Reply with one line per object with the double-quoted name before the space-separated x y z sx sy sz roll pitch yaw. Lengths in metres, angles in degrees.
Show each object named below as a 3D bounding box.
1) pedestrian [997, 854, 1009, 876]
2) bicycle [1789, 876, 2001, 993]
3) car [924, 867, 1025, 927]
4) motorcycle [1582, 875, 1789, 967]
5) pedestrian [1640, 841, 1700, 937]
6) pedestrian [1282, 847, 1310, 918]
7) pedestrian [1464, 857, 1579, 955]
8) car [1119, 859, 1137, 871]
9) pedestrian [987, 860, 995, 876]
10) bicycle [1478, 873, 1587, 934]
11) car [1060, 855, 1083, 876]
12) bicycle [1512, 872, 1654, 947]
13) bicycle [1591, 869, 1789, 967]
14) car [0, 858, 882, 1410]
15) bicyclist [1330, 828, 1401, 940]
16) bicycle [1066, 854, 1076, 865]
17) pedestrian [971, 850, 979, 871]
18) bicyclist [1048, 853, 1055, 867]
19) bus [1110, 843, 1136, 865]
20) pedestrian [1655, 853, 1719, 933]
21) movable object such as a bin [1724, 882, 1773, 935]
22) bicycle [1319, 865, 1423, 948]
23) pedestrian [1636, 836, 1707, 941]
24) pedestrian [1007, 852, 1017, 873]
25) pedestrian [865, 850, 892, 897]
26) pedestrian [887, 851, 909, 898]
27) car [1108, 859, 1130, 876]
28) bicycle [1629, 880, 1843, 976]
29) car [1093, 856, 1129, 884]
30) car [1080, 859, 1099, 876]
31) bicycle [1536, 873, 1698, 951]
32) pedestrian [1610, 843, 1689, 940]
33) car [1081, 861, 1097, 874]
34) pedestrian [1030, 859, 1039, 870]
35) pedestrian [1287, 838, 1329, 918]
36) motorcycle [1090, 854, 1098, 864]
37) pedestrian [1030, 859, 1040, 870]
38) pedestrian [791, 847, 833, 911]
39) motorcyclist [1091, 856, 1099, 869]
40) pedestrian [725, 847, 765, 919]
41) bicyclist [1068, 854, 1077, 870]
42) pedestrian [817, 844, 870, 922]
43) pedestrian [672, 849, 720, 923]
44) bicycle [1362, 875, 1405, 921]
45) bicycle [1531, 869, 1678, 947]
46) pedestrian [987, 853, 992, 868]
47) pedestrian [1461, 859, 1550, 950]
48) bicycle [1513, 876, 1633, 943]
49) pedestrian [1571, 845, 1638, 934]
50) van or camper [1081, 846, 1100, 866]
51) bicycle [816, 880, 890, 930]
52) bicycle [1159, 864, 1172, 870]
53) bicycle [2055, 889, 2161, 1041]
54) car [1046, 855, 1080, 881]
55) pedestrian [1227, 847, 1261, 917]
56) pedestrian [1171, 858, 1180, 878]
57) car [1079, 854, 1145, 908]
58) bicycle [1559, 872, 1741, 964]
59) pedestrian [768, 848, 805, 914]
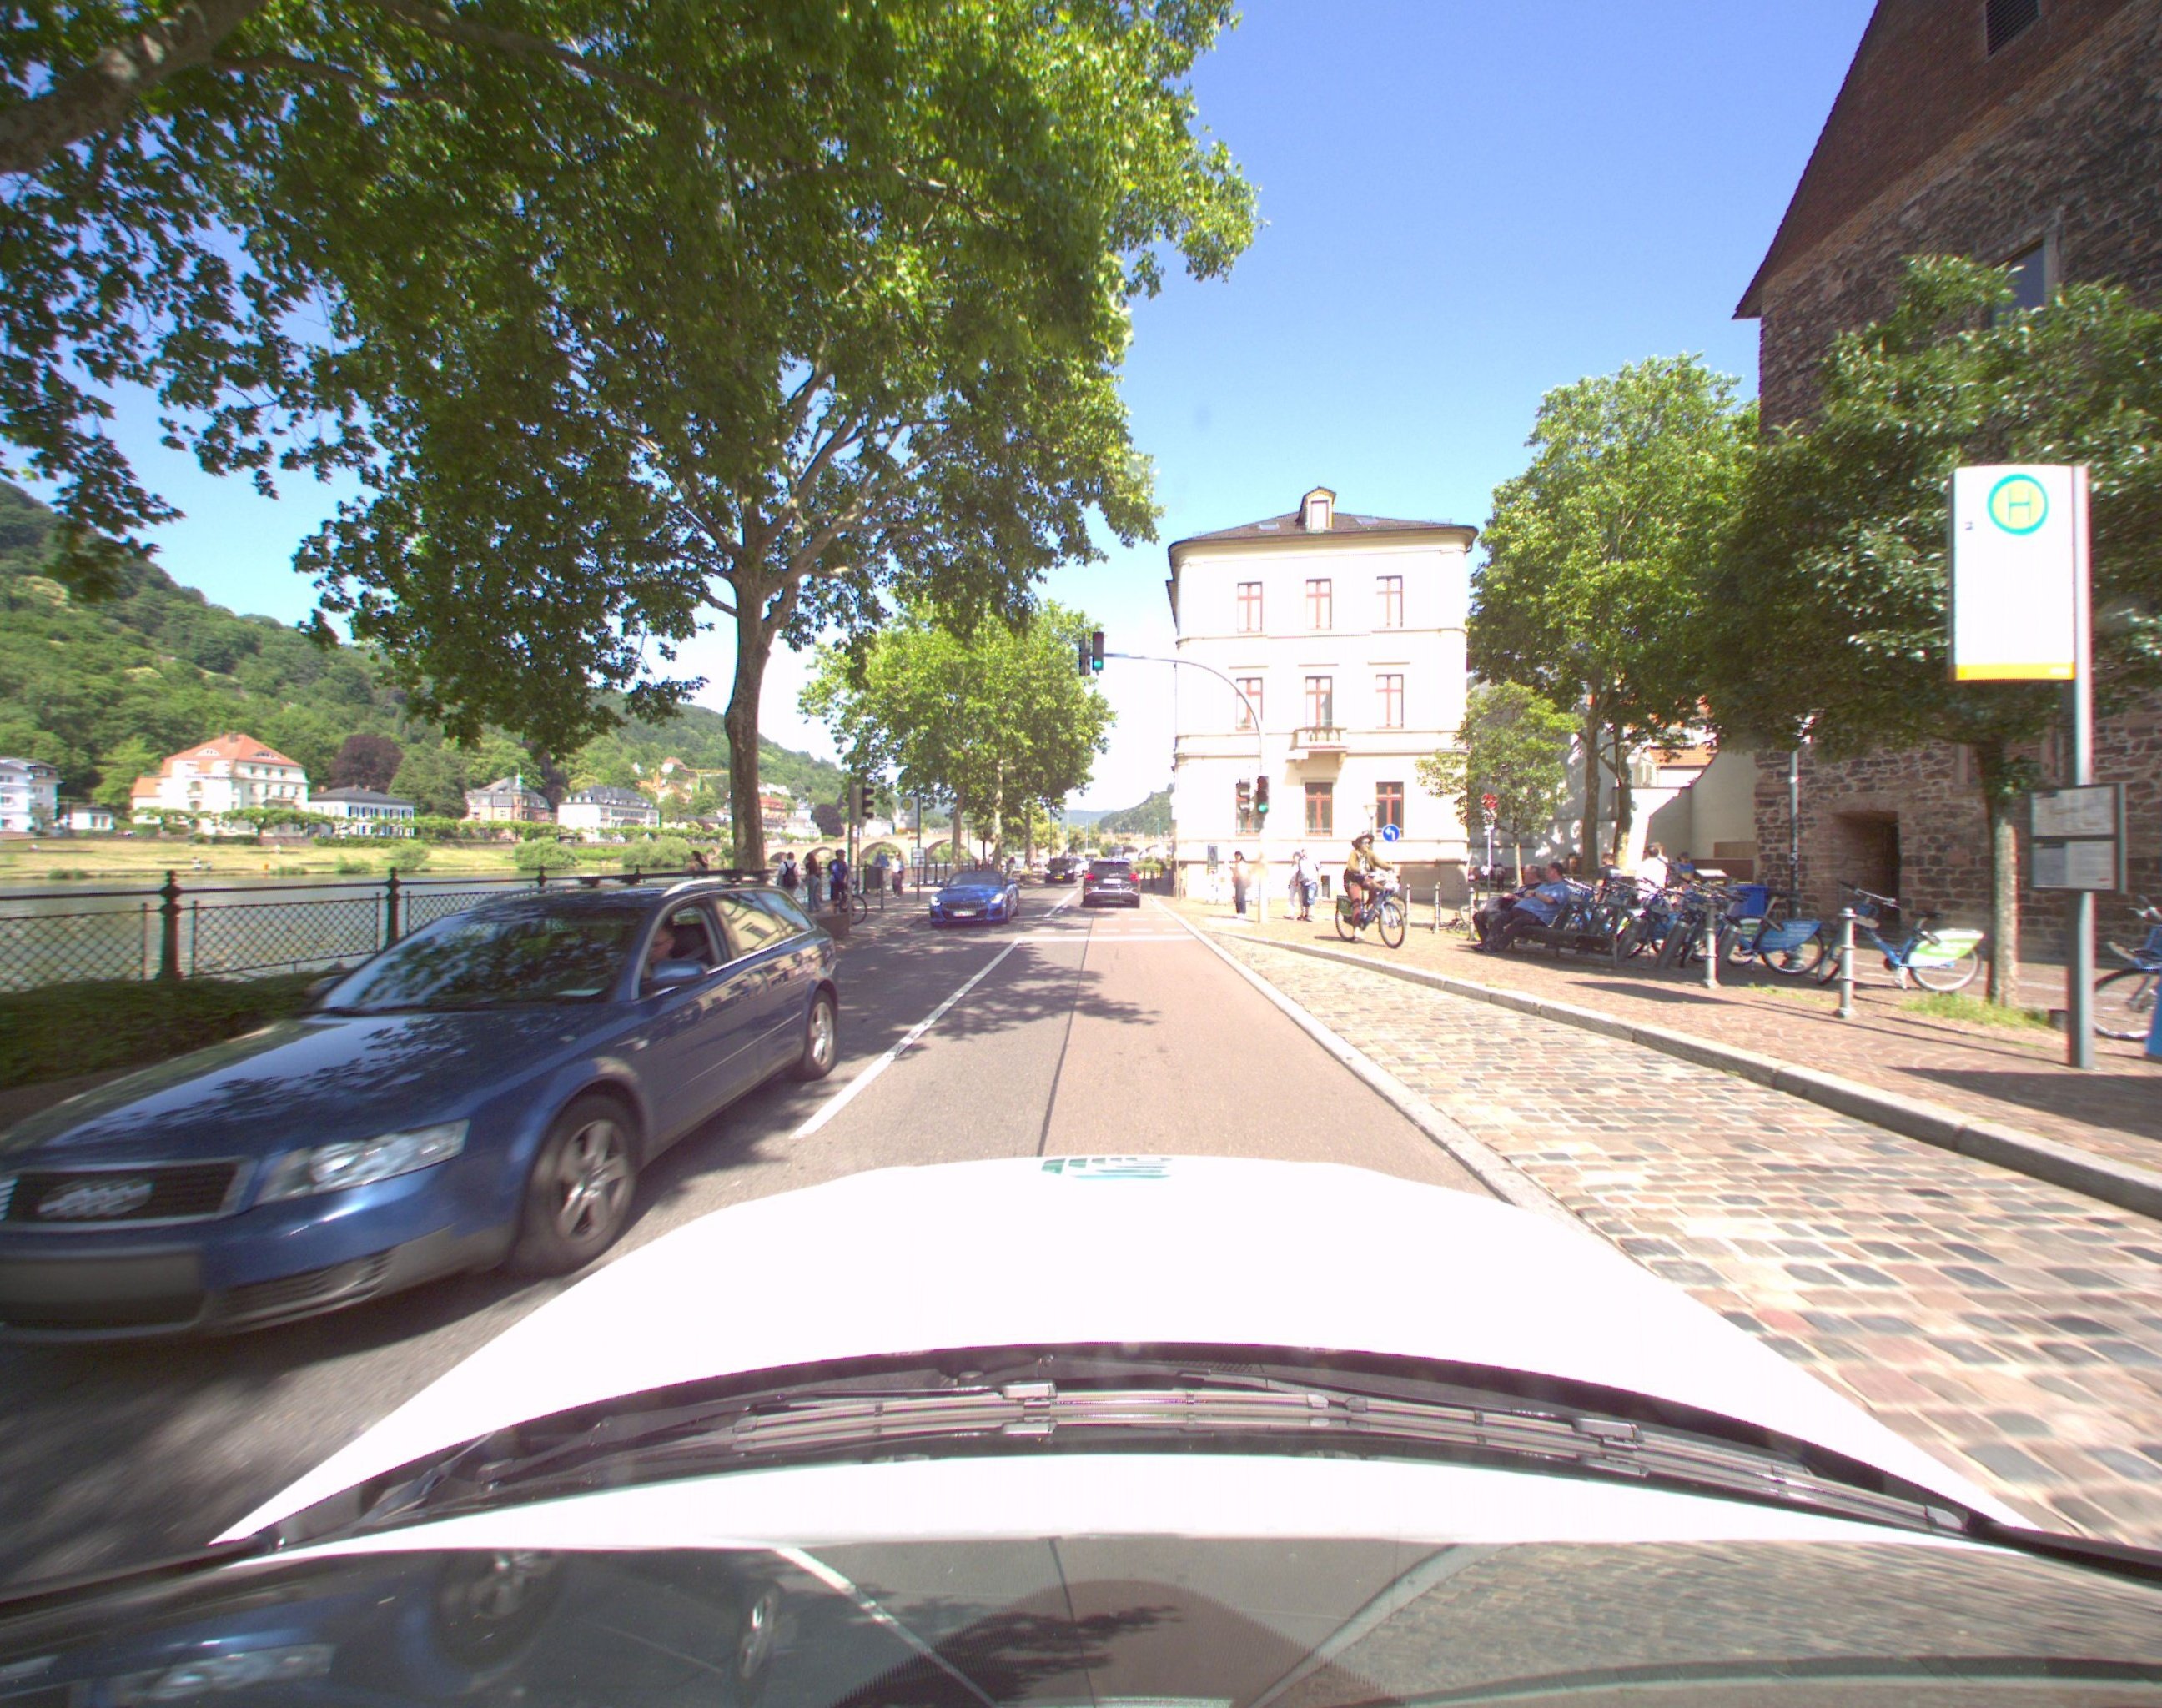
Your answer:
"pedestrian" -5.472 0.780 57.300 0.759 1.586 0.696 1 -1 1
"bicycle" 8.963 0.856 9.026 1.539 1.198 0.727 0 -1 8
"car" -2.552 1.001 20.470 1.834 1.269 4.263 -3 -1 1
"motorcycle" 8.108 0.886 10.989 2.197 1.104 0.776 2 0 0
"pedestrian" 12.390 0.715 17.133 0.808 1.942 0.782 1 -1 -32
"pedestrian" 5.243 0.686 19.900 0.525 1.712 0.666 1 -1 1
"pedestrian" 6.094 0.706 11.307 1.243 1.308 0.693 1 -1 0
"car" 5.981 1.370 103.471 1.916 1.553 4.841 -1 0 7
"pedestrian" -9.129 1.409 82.457 0.689 1.616 0.665 0 -1 9
"bicycle" 8.777 0.957 15.874 1.786 1.110 0.563 2 0 0
"car" -0.779 0.898 64.107 1.731 1.518 4.400 0 -1 -2
"bicycle" 8.659 0.944 14.089 2.072 1.198 0.608 2 0 0
"bicycle" 8.171 0.841 10.990 2.073 1.198 0.776 2 0 0
"car" -2.644 0.837 4.522 1.694 1.518 4.408 -3 -1 3
"bicyclist" 4.286 0.443 12.326 0.708 1.628 0.885 1 -1 -5
"bicycle" -1.070 0.592 85.340 0.736 1.077 1.957 2 0 7
"pedestrian" -10.113 0.631 77.715 0.691 1.945 0.887 1 -1 1
"bicyclist" -3.283 0.654 90.656 0.716 1.583 1.090 0 -1 4
"bus" 7.408 0.132 141.352 2.614 3.564 13.023 0 -1 12
"pedestrian" 13.781 0.866 18.556 0.755 1.760 0.961 1 -1 1
"movable object such as a bin" 14.773 1.188 18.042 0.487 1.124 0.751 0 -1 2
"bicycle" 4.287 0.738 12.222 0.688 1.129 2.005 1 -1 -6
"pedestrian" 11.399 0.657 15.756 0.653 1.960 0.938 1 -1 -8
"pedestrian" -5.680 0.728 66.800 0.654 1.682 0.759 3 -1 1
"pedestrian" -7.600 0.729 30.636 0.709 1.764 0.972 1 -1 1
"pedestrian" -6.404 0.714 28.478 0.492 1.617 0.992 1 -1 1
"car" 3.620 1.222 77.023 1.918 1.553 4.836 -1 0 4
"bicycle" 8.128 0.903 10.172 2.017 1.066 0.801 2 0 0
"car" 1.729 0.885 46.217 1.919 1.461 4.834 1 0 2
"car" 0.832 1.300 79.275 1.695 1.445 4.091 2 1 0
"bicycle" 8.194 0.881 12.494 2.073 1.085 0.604 2 0 0
"pedestrian" 10.566 0.682 15.166 0.802 1.753 0.906 1 -1 -8
"car" 0.894 1.518 91.063 1.694 1.458 4.004 0 -1 2
"pedestrian" -5.653 1.312 99.466 0.930 1.281 0.852 0 -1 11
"pedestrian" 5.359 0.561 19.211 0.620 1.852 0.723 1 -1 -33
"motorcycle" 1.595 0.614 97.262 0.881 1.077 2.327 0 2 -2
"pedestrian" -5.619 1.314 99.665 0.930 1.281 0.852 0 -1 11
"pedestrian" -7.276 0.669 22.028 0.832 1.714 0.783 1 -1 1
"motorcyclist" 1.657 0.995 96.676 0.875 1.583 1.025 1 -1 1
"pedestrian" -8.164 0.695 19.788 0.616 1.700 0.696 1 -1 1
"bicyclist" -0.860 0.829 85.076 0.763 1.531 1.026 2 1 4
"pedestrian" -5.616 0.671 19.247 1.012 1.773 0.773 0 -1 42
"pedestrian" -8.718 0.716 18.452 0.547 1.608 0.911 3 -1 1
"bicycle" 6.929 1.015 18.686 0.505 1.004 1.581 1 -4 4
"bicycle" 8.649 0.886 13.487 2.073 1.198 0.527 2 0 0
"pedestrian" -9.218 0.652 82.250 0.412 1.597 0.452 0 -1 9
"pedestrian" 6.226 0.722 11.985 0.957 1.282 0.693 1 -1 0
"bicycle" 8.887 0.989 14.745 1.786 1.110 0.608 2 0 0
"pedestrian" 10.781 0.708 16.777 0.995 1.765 0.916 1 -1 -40
"van or camper" 1.313 0.298 105.507 2.078 2.557 7.097 1 -1 3
"bicycle" -5.300 1.161 18.853 1.808 0.925 0.747 6 2 42
"bicycle" 12.330 1.882 119.076 1.801 0.878 0.503 2 0 5
"bicycle" 8.566 0.852 5.987 0.549 1.131 1.722 1 -1 -28
"car" -1.087 0.869 50.494 1.694 1.518 4.408 -2 -1 3
"pedestrian" 4.010 0.686 20.037 0.713 1.675 0.682 1 -1 1
"pedestrian" 8.534 1.245 73.386 0.758 1.713 0.697 -2 -1 5
"car" 0.949 0.817 26.617 1.920 1.553 4.832 1 0 1
"bicycle" 8.186 0.900 11.773 2.073 1.198 0.776 2 0 0
"pedestrian" -7.742 0.702 21.441 0.650 1.713 0.793 -1 -1 1
